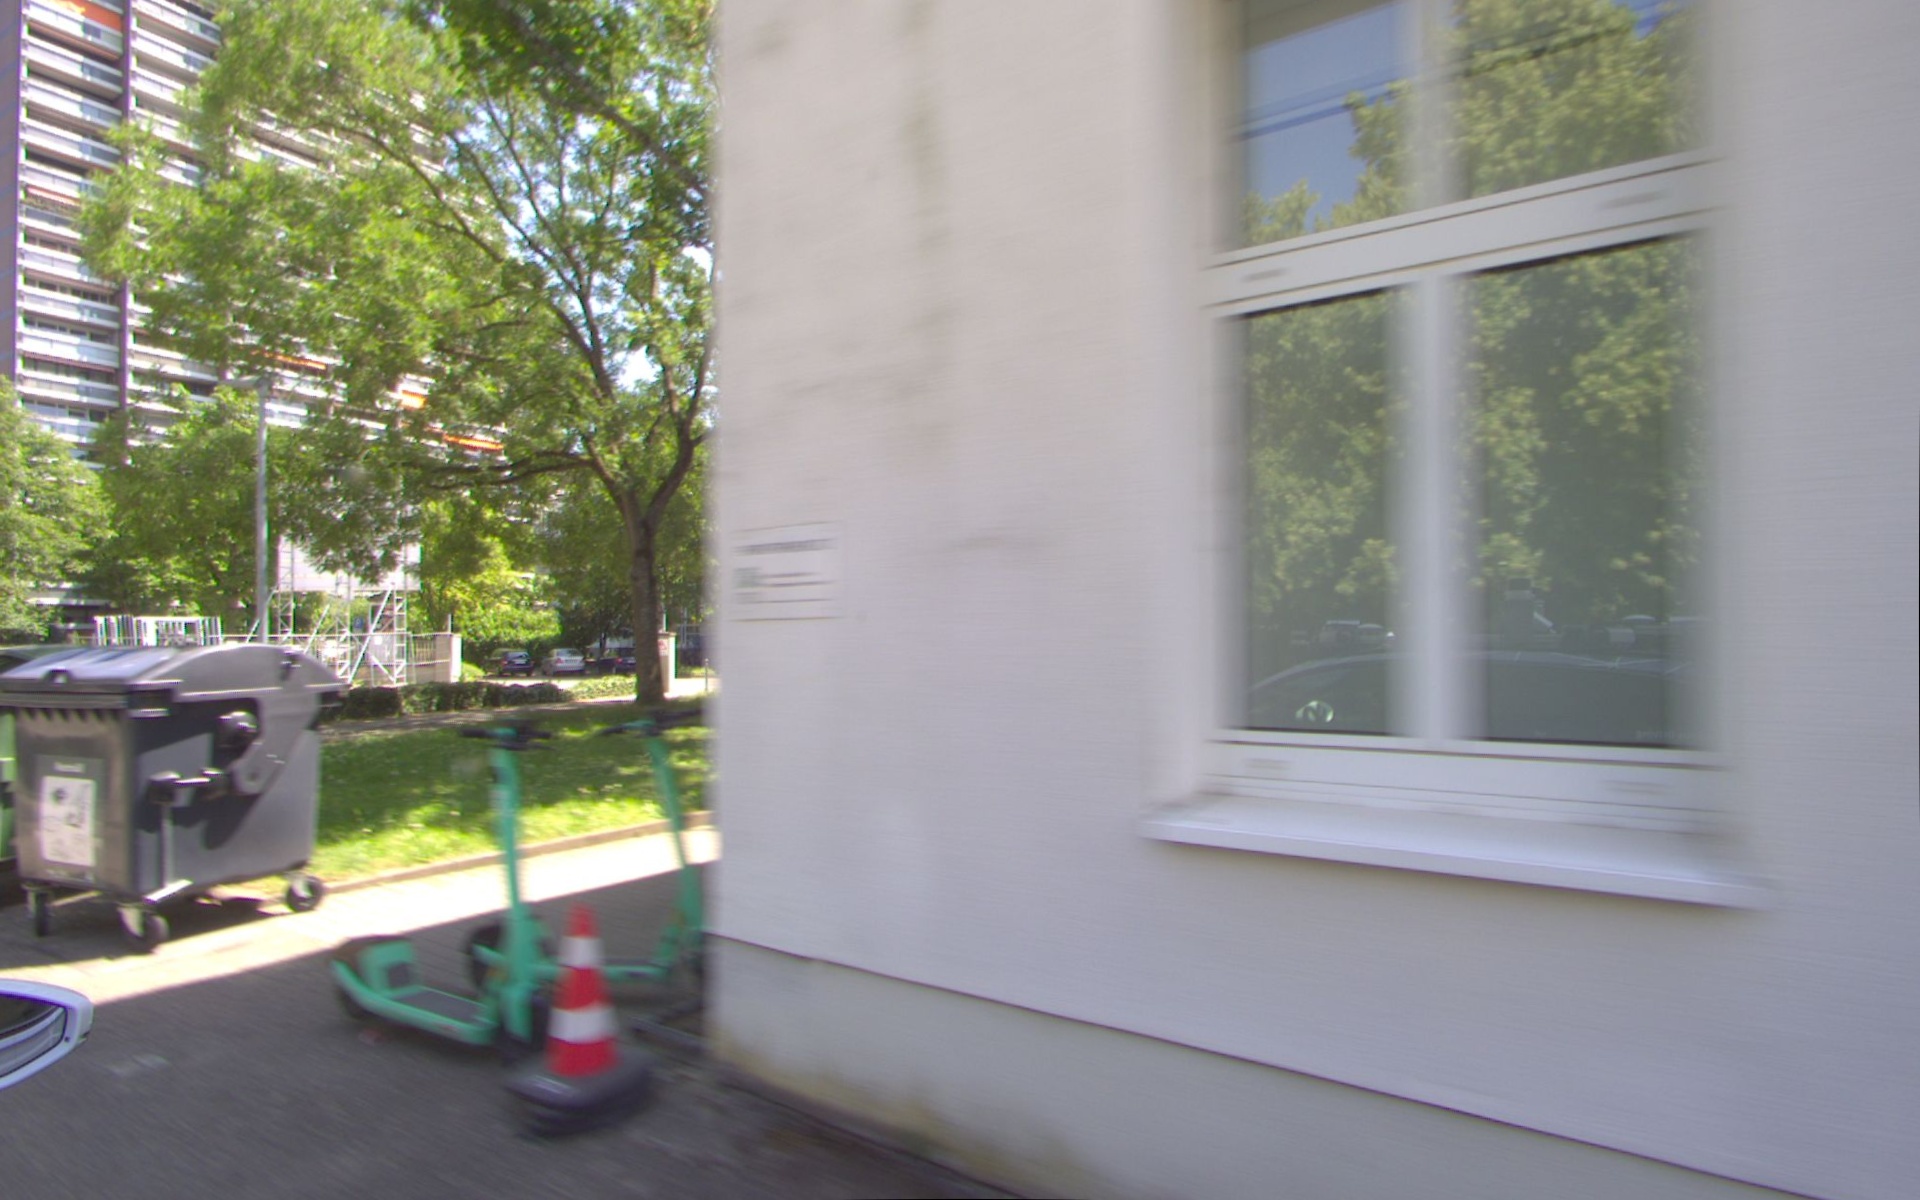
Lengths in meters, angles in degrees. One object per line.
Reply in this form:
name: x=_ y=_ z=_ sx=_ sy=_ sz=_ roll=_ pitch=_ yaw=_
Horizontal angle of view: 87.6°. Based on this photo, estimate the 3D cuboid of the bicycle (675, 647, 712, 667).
bicycle: x=-16.191 y=3.478 z=60.903 sx=0.771 sy=1.172 sz=2.376 roll=-1 pitch=-3 yaw=28

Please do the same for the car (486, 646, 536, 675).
car: x=-23.959 y=3.204 z=53.365 sx=1.619 sy=1.482 sz=3.651 roll=1 pitch=-3 yaw=-38

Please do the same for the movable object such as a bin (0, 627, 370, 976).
movable object such as a bin: x=-4.111 y=0.930 z=5.225 sx=1.439 sy=1.524 sz=1.156 roll=-2 pitch=-3 yaw=24

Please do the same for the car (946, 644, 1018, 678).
car: x=1.096 y=3.103 z=51.371 sx=1.596 sy=1.640 sz=3.712 roll=1 pitch=-3 yaw=-42

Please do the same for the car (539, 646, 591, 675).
car: x=-21.138 y=3.212 z=53.486 sx=1.619 sy=1.482 sz=3.651 roll=1 pitch=-3 yaw=-38

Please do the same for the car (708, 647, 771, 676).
car: x=-11.666 y=3.220 z=52.854 sx=1.628 sy=1.482 sz=3.645 roll=2 pitch=-3 yaw=-43

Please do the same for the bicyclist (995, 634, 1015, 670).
bicyclist: x=2.170 y=2.492 z=48.271 sx=0.883 sy=1.686 sz=0.859 roll=-1 pitch=-2 yaw=1

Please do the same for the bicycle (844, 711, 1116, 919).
bicycle: x=0.085 y=1.315 z=6.471 sx=1.810 sy=1.081 sz=0.452 roll=-1 pitch=-2 yaw=35

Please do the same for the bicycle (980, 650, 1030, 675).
bicycle: x=2.176 y=3.020 z=48.286 sx=2.392 sy=1.166 sz=0.786 roll=0 pitch=-2 yaw=1

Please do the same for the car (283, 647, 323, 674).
car: x=-35.759 y=3.281 z=54.448 sx=1.619 sy=1.404 sz=3.653 roll=1 pitch=-3 yaw=-36

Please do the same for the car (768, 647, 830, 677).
car: x=-8.457 y=3.224 z=52.346 sx=1.595 sy=1.463 sz=3.648 roll=1 pitch=-3 yaw=-40

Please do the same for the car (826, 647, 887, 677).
car: x=-5.459 y=3.212 z=52.281 sx=1.593 sy=1.454 sz=3.578 roll=1 pitch=-3 yaw=-36

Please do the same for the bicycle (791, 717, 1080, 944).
bicycle: x=-0.192 y=1.297 z=5.996 sx=1.810 sy=1.081 sz=0.452 roll=-1 pitch=-2 yaw=35

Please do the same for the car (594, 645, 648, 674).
car: x=-18.088 y=3.170 z=53.307 sx=1.619 sy=1.482 sz=3.651 roll=1 pitch=-3 yaw=-38

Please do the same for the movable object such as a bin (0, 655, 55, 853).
movable object such as a bin: x=-7.924 y=1.170 z=7.601 sx=1.291 sy=1.488 sz=1.179 roll=-2 pitch=-3 yaw=28

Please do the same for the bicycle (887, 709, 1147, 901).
bicycle: x=0.358 y=1.354 z=6.960 sx=1.810 sy=1.081 sz=0.502 roll=-1 pitch=-2 yaw=35

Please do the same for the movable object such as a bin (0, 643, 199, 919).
movable object such as a bin: x=-5.617 y=1.018 z=6.042 sx=1.291 sy=1.488 sz=1.179 roll=-2 pitch=-3 yaw=27

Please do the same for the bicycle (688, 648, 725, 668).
bicycle: x=-15.259 y=3.466 z=60.419 sx=0.771 sy=1.172 sz=2.376 roll=-1 pitch=-3 yaw=28

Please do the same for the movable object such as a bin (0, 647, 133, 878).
movable object such as a bin: x=-6.700 y=1.078 z=6.881 sx=1.292 sy=1.488 sz=1.178 roll=-2 pitch=-3 yaw=29

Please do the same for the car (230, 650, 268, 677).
car: x=-39.051 y=3.447 z=54.997 sx=1.619 sy=1.404 sz=3.653 roll=1 pitch=-3 yaw=-36

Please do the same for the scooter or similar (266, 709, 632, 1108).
scooter or similar: x=-1.870 y=1.022 z=3.646 sx=1.335 sy=1.188 sz=0.464 roll=-1 pitch=-2 yaw=25

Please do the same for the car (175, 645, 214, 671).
car: x=-42.357 y=3.206 z=55.447 sx=1.619 sy=1.404 sz=3.653 roll=1 pitch=-3 yaw=-36

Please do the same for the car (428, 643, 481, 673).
car: x=-26.722 y=3.050 z=52.907 sx=1.622 sy=1.482 sz=3.645 roll=2 pitch=-3 yaw=-42

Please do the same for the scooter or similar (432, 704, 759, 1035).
scooter or similar: x=-1.498 y=1.047 z=4.143 sx=1.233 sy=1.188 sz=0.464 roll=-1 pitch=-2 yaw=16

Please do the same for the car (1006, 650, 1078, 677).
car: x=4.153 y=3.204 z=51.096 sx=1.593 sy=1.297 sz=3.719 roll=1 pitch=-3 yaw=-36
